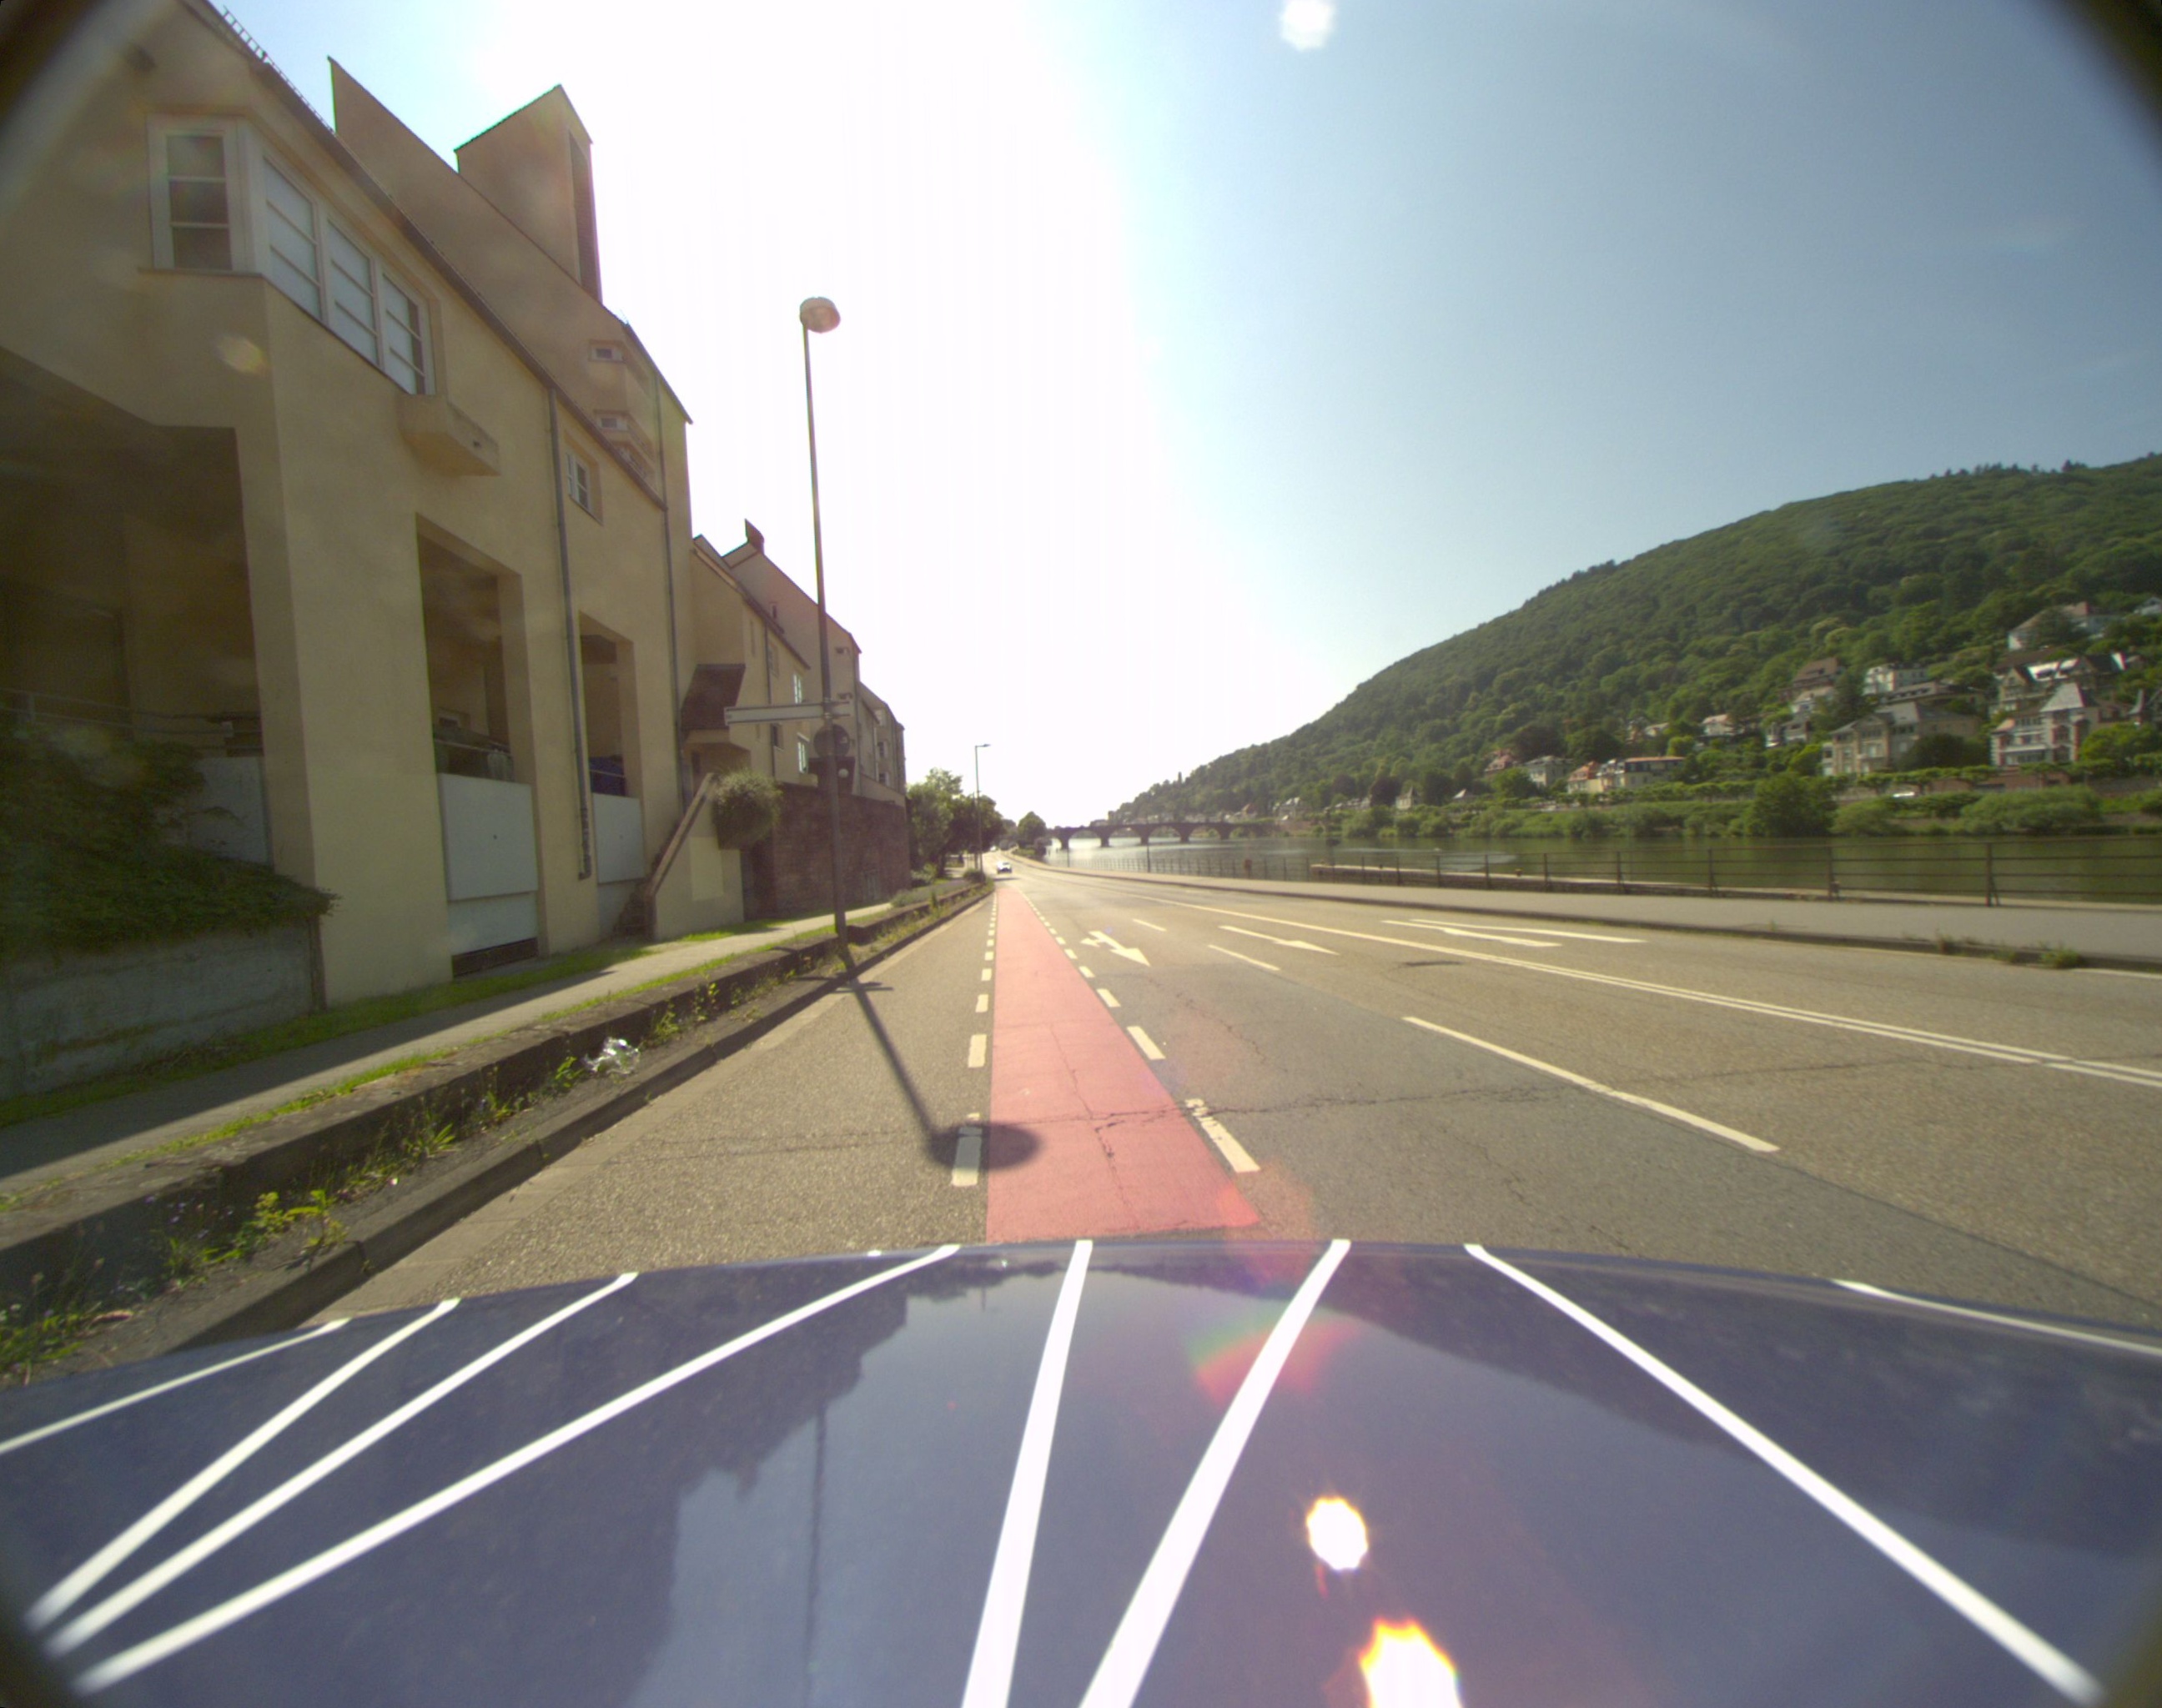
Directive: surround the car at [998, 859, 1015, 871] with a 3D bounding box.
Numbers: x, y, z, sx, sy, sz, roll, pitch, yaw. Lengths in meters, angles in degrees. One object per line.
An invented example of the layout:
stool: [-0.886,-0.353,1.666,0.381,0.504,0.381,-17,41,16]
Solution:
car: [-9.214,1.359,94.216,1.999,1.433,3.998,-2,0,-6]
